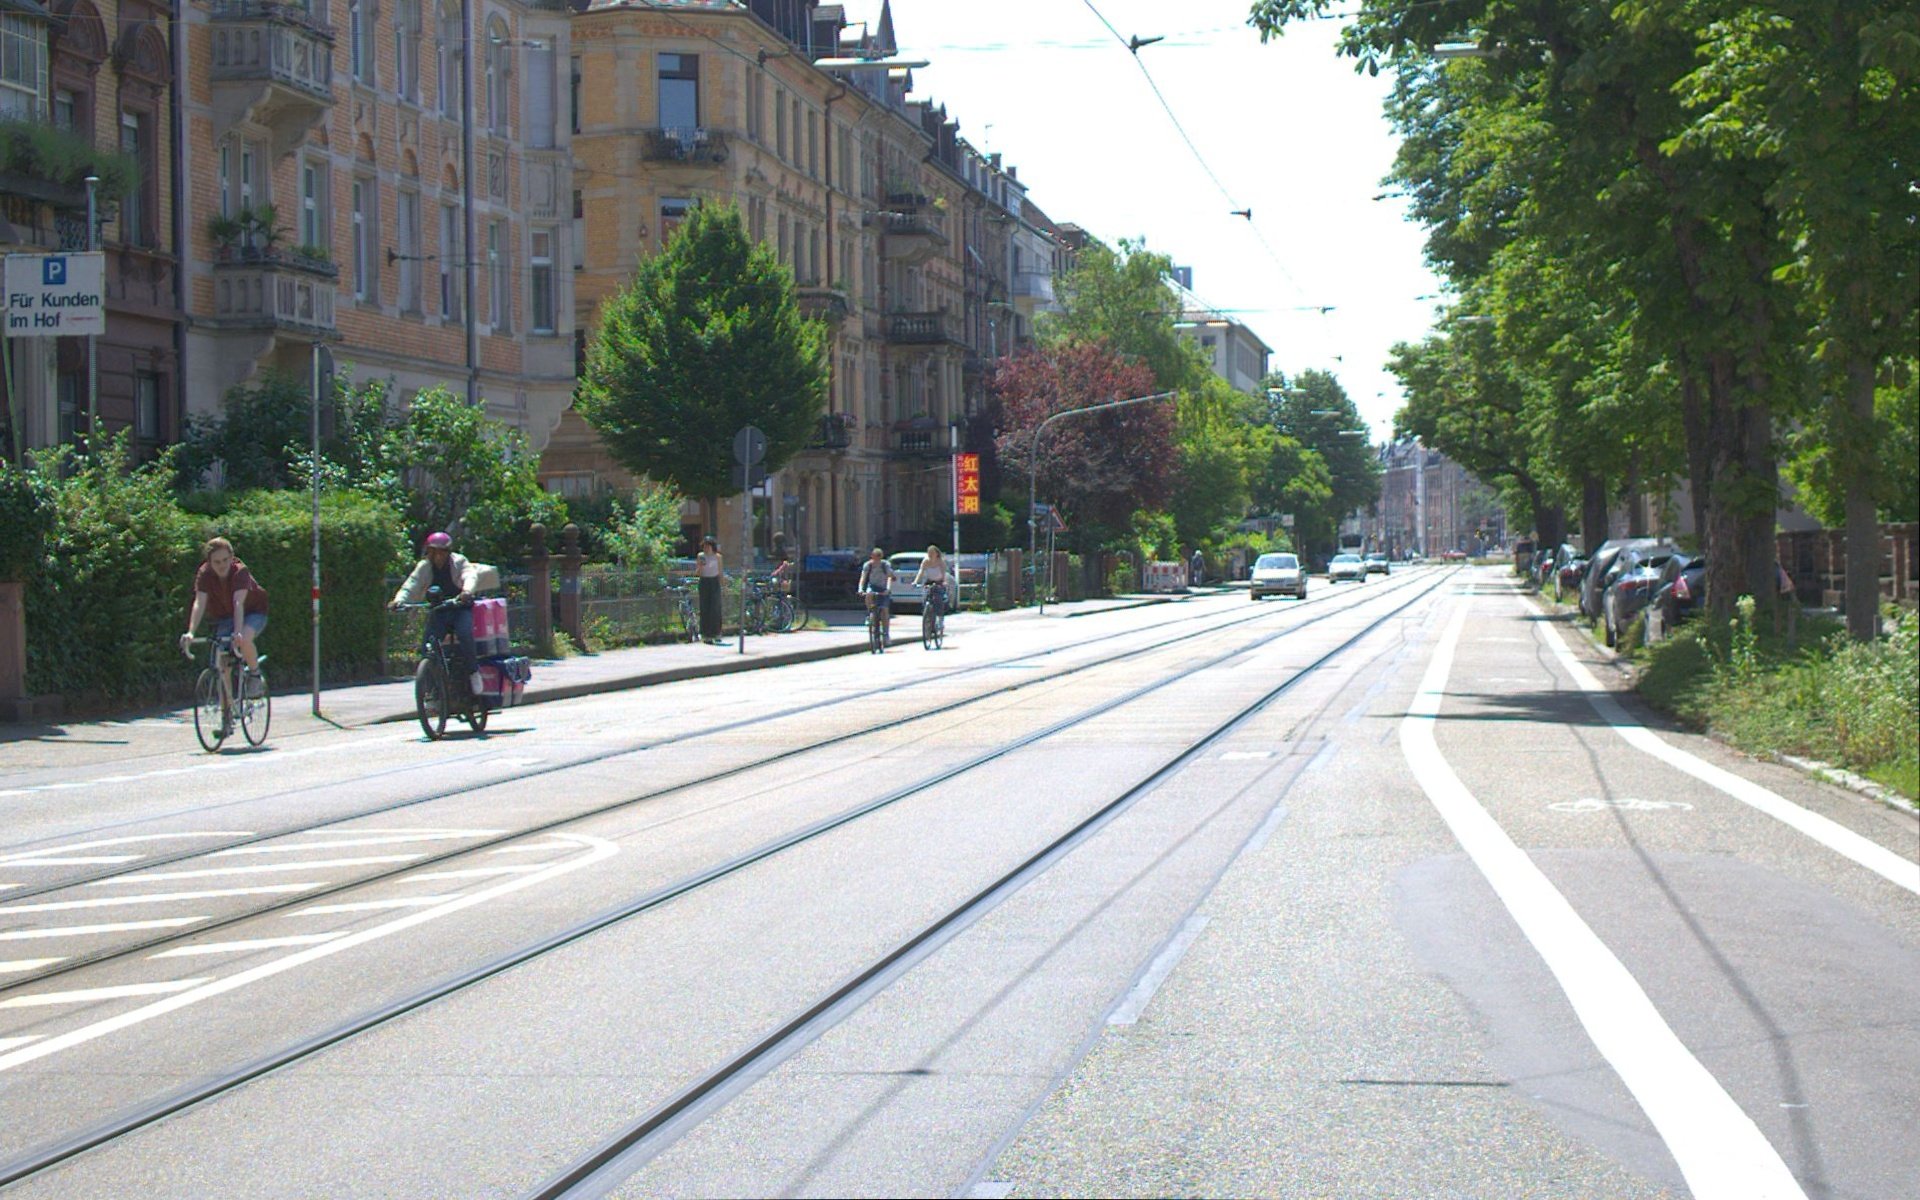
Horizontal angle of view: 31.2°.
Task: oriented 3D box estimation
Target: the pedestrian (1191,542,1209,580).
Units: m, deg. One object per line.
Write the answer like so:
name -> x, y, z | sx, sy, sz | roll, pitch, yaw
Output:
pedestrian -> 10.248, -1.658, 147.043 | 0.751, 1.623, 0.833 | 0, 1, 5

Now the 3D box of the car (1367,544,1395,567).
car -> 27.348, -2.874, 223.099 | 1.687, 1.449, 3.747 | 0, 1, 9

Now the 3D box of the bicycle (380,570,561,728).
bicycle -> -4.205, 0.394, 29.745 | 0.808, 1.267, 2.550 | -1, 1, 9

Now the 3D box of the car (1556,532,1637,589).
car -> 16.968, -1.069, 91.807 | 1.769, 1.422, 4.861 | -1, 1, 6

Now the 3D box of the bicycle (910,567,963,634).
bicycle -> -0.395, -0.001, 57.963 | 0.581, 1.074, 1.890 | -2, 1, 8

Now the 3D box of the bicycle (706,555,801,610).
bicycle -> -3.941, -0.337, 65.636 | 1.706, 1.033, 0.551 | 0, 1, 13

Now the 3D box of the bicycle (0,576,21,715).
bicycle -> -9.451, 0.387, 30.871 | 1.871, 1.223, 0.568 | 1, 1, 6

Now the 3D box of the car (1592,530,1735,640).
car -> 10.609, -0.255, 52.077 | 1.733, 1.546, 4.453 | -1, 1, 7

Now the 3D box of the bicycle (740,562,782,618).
bicycle -> -3.589, -0.194, 62.140 | 0.439, 0.980, 1.710 | 0, 1, 7

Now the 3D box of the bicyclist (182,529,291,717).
bicyclist -> -5.920, 0.181, 28.175 | 0.563, 1.510, 0.891 | -1, 1, 9

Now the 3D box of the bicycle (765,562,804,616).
bicycle -> -3.270, -0.211, 64.156 | 0.439, 0.980, 1.710 | 0, 1, 7

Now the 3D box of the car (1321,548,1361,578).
car -> 18.880, -1.848, 170.237 | 1.757, 1.419, 3.999 | -1, 1, 9

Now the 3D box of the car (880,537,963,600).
car -> -0.984, -0.844, 90.152 | 1.866, 1.594, 4.101 | 1, 1, 4

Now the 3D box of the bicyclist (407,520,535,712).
bicyclist -> -4.217, 0.125, 29.701 | 0.808, 1.624, 0.980 | -1, 1, 9

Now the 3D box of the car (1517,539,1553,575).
car -> 33.619, -2.518, 201.031 | 1.994, 2.028, 4.695 | -1, 1, 9

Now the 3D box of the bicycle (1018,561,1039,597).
bicycle -> 1.974, -0.614, 98.854 | 0.454, 1.000, 1.806 | 0, 1, 5

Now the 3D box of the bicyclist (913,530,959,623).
bicyclist -> -0.407, -0.402, 57.974 | 0.592, 1.539, 0.952 | -2, 1, 8

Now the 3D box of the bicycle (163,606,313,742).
bicycle -> -5.909, 0.592, 28.212 | 0.568, 1.034, 1.828 | -1, 1, 9

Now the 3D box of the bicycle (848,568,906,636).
bicycle -> -1.395, 0.022, 57.912 | 0.629, 1.074, 1.874 | -2, 1, 8

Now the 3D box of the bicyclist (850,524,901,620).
bicyclist -> -1.422, -0.475, 57.849 | 0.634, 1.579, 1.028 | -2, 1, 8

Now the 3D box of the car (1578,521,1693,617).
car -> 12.357, -0.597, 62.774 | 1.948, 1.645, 4.877 | -1, 1, 12

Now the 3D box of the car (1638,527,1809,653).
car -> 9.633, -0.163, 43.595 | 1.657, 1.510, 3.999 | -1, 1, 6

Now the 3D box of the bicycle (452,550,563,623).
bicycle -> -6.654, -0.198, 50.562 | 1.510, 1.040, 0.495 | -1, 1, 10

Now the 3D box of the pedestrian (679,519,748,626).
pedestrian -> -4.049, -0.466, 56.511 | 0.851, 1.717, 1.138 | 2, 1, 9

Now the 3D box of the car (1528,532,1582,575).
car -> 22.203, -1.760, 128.435 | 1.774, 1.496, 4.304 | -2, 1, 8

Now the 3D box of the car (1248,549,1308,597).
car -> 10.294, -0.889, 111.057 | 1.685, 1.444, 3.999 | -1, 1, 8

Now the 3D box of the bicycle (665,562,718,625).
bicycle -> -4.452, -0.113, 57.071 | 0.496, 0.984, 1.710 | 3, 2, 7

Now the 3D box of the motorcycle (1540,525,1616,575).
motorcycle -> 19.253, -1.553, 107.100 | 0.867, 1.535, 2.320 | -1, 1, -38
